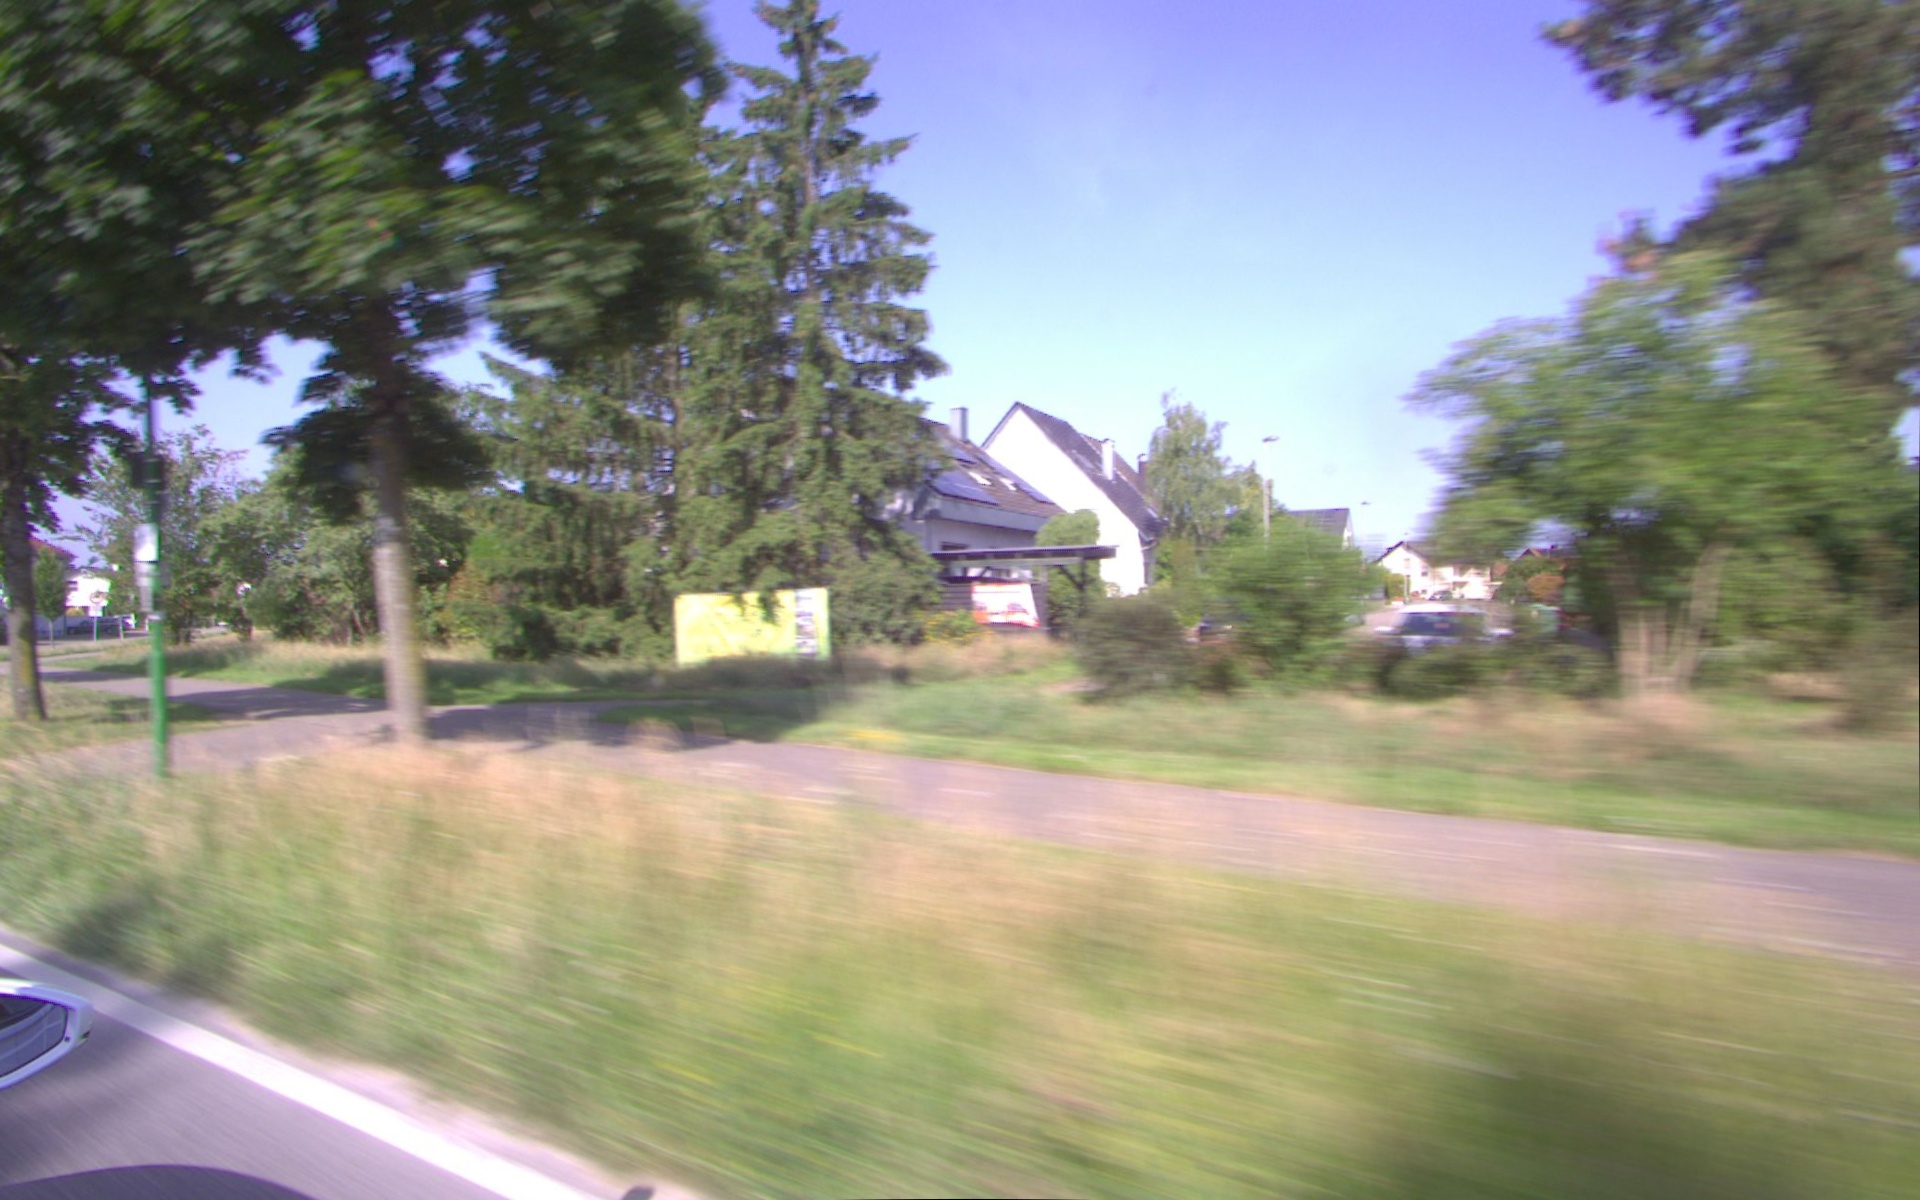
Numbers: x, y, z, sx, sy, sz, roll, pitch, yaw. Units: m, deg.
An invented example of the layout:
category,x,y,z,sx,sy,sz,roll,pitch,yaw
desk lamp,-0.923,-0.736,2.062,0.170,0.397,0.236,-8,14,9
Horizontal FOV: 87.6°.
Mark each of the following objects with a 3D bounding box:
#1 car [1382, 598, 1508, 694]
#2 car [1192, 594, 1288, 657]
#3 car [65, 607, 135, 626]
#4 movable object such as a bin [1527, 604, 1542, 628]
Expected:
category,x,y,z,sx,sy,sz,roll,pitch,yaw
car,8.472,0.719,17.655,1.785,1.453,3.986,-1,0,25
car,8.240,0.707,29.275,1.813,1.684,3.921,-1,0,30
car,-76.916,1.477,89.607,4.388,1.720,1.765,0,-1,-23
movable object such as a bin,23.746,0.651,41.408,0.532,1.001,0.381,0,0,31
